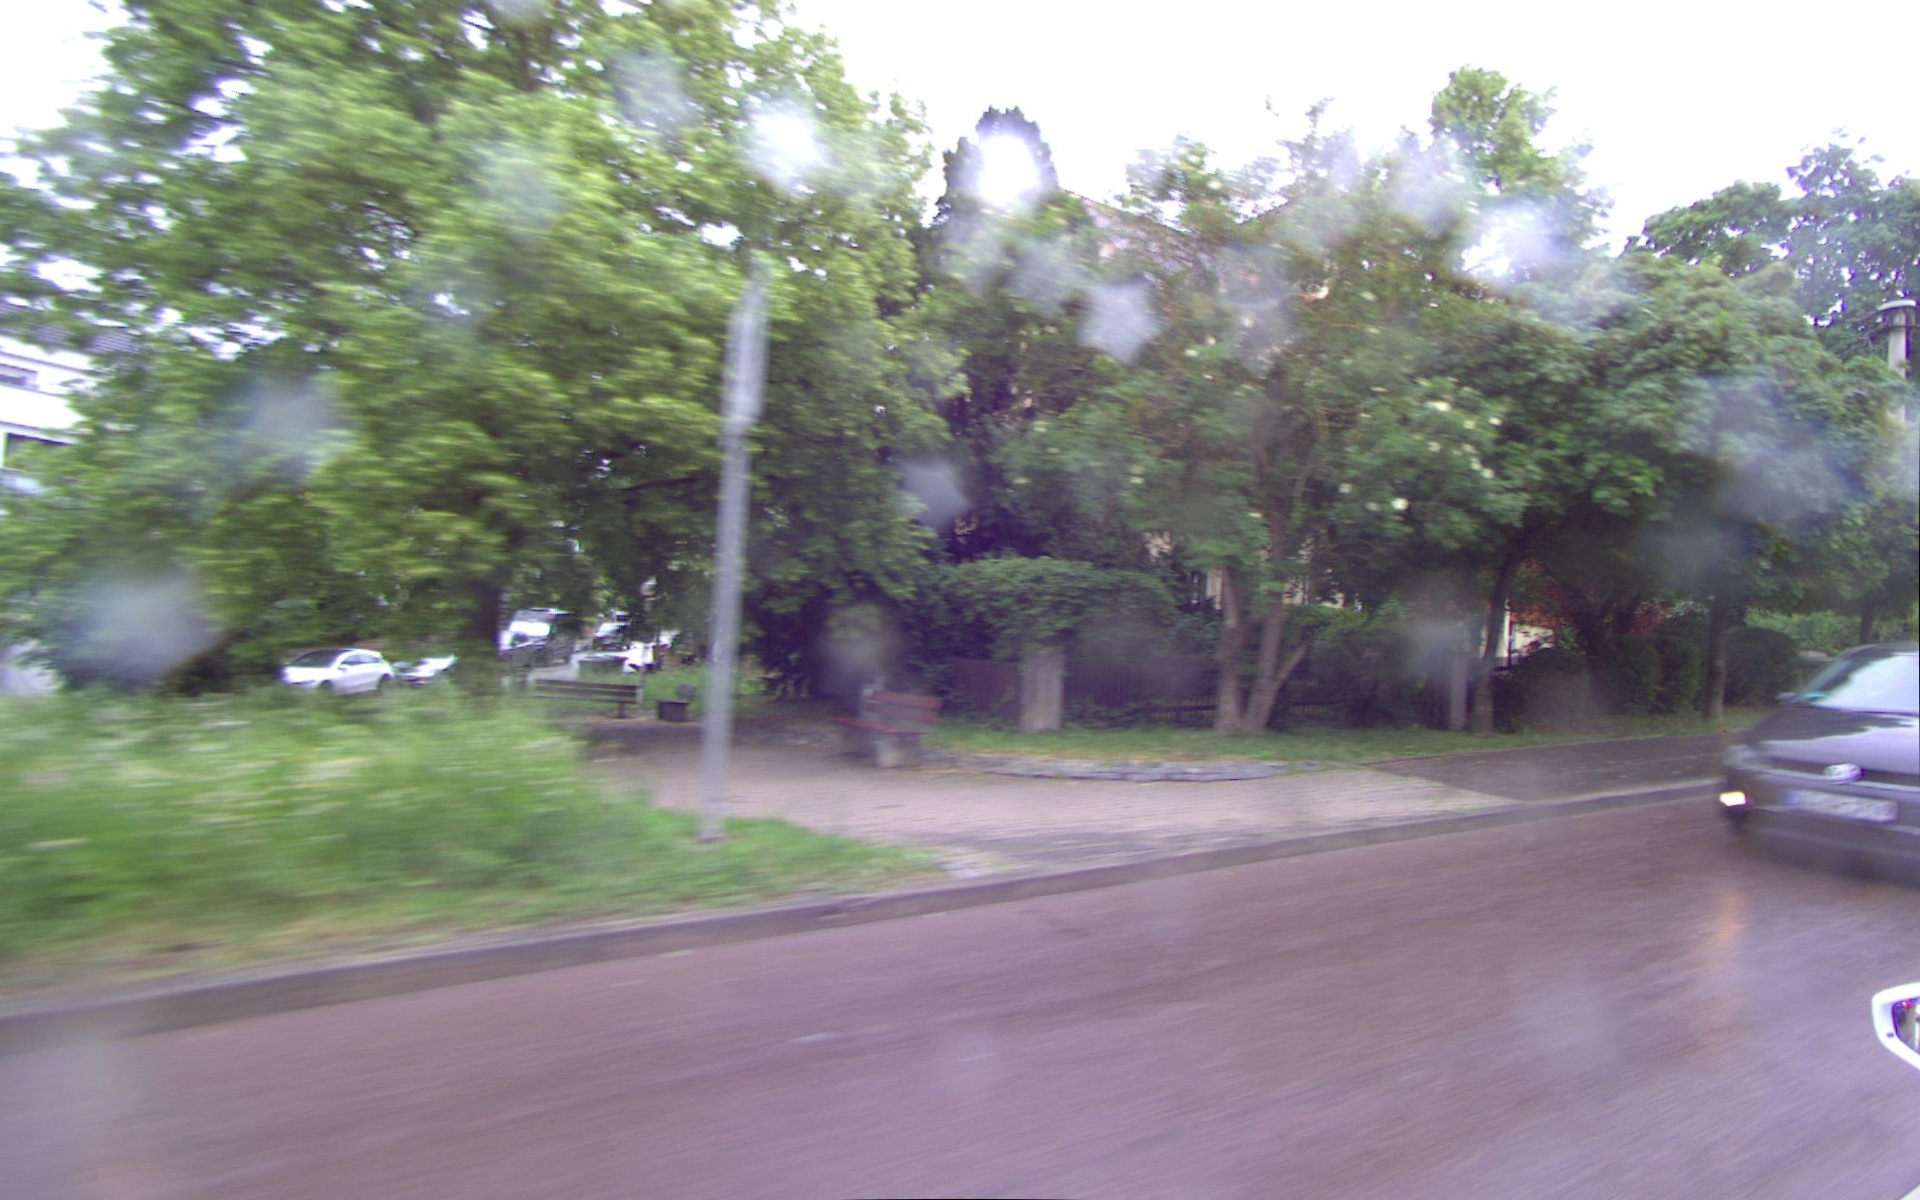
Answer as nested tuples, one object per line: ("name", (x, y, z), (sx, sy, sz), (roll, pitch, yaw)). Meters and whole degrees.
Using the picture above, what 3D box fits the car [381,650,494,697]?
("car", (-18.410, 2.554, 35.608), (1.875, 1.408, 4.001), (1, -1, 0))

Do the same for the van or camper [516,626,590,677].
("van or camper", (-19.199, 2.389, 47.650), (1.963, 2.225, 5.055), (1, -1, -7))

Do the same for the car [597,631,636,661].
("car", (-21.638, 2.896, 63.325), (1.408, 1.859, 3.392), (0, -2, -3))

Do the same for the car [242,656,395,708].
("car", (-18.833, 2.377, 29.717), (1.687, 1.270, 3.977), (1, -1, 5))

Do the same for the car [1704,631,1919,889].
("car", (6.947, 0.979, 6.980), (3.695, 1.460, 1.610), (2, -1, -32))

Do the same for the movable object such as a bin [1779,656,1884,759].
("movable object such as a bin", (10.259, 1.242, 11.834), (0.748, 1.114, 0.717), (1, 0, -30))
